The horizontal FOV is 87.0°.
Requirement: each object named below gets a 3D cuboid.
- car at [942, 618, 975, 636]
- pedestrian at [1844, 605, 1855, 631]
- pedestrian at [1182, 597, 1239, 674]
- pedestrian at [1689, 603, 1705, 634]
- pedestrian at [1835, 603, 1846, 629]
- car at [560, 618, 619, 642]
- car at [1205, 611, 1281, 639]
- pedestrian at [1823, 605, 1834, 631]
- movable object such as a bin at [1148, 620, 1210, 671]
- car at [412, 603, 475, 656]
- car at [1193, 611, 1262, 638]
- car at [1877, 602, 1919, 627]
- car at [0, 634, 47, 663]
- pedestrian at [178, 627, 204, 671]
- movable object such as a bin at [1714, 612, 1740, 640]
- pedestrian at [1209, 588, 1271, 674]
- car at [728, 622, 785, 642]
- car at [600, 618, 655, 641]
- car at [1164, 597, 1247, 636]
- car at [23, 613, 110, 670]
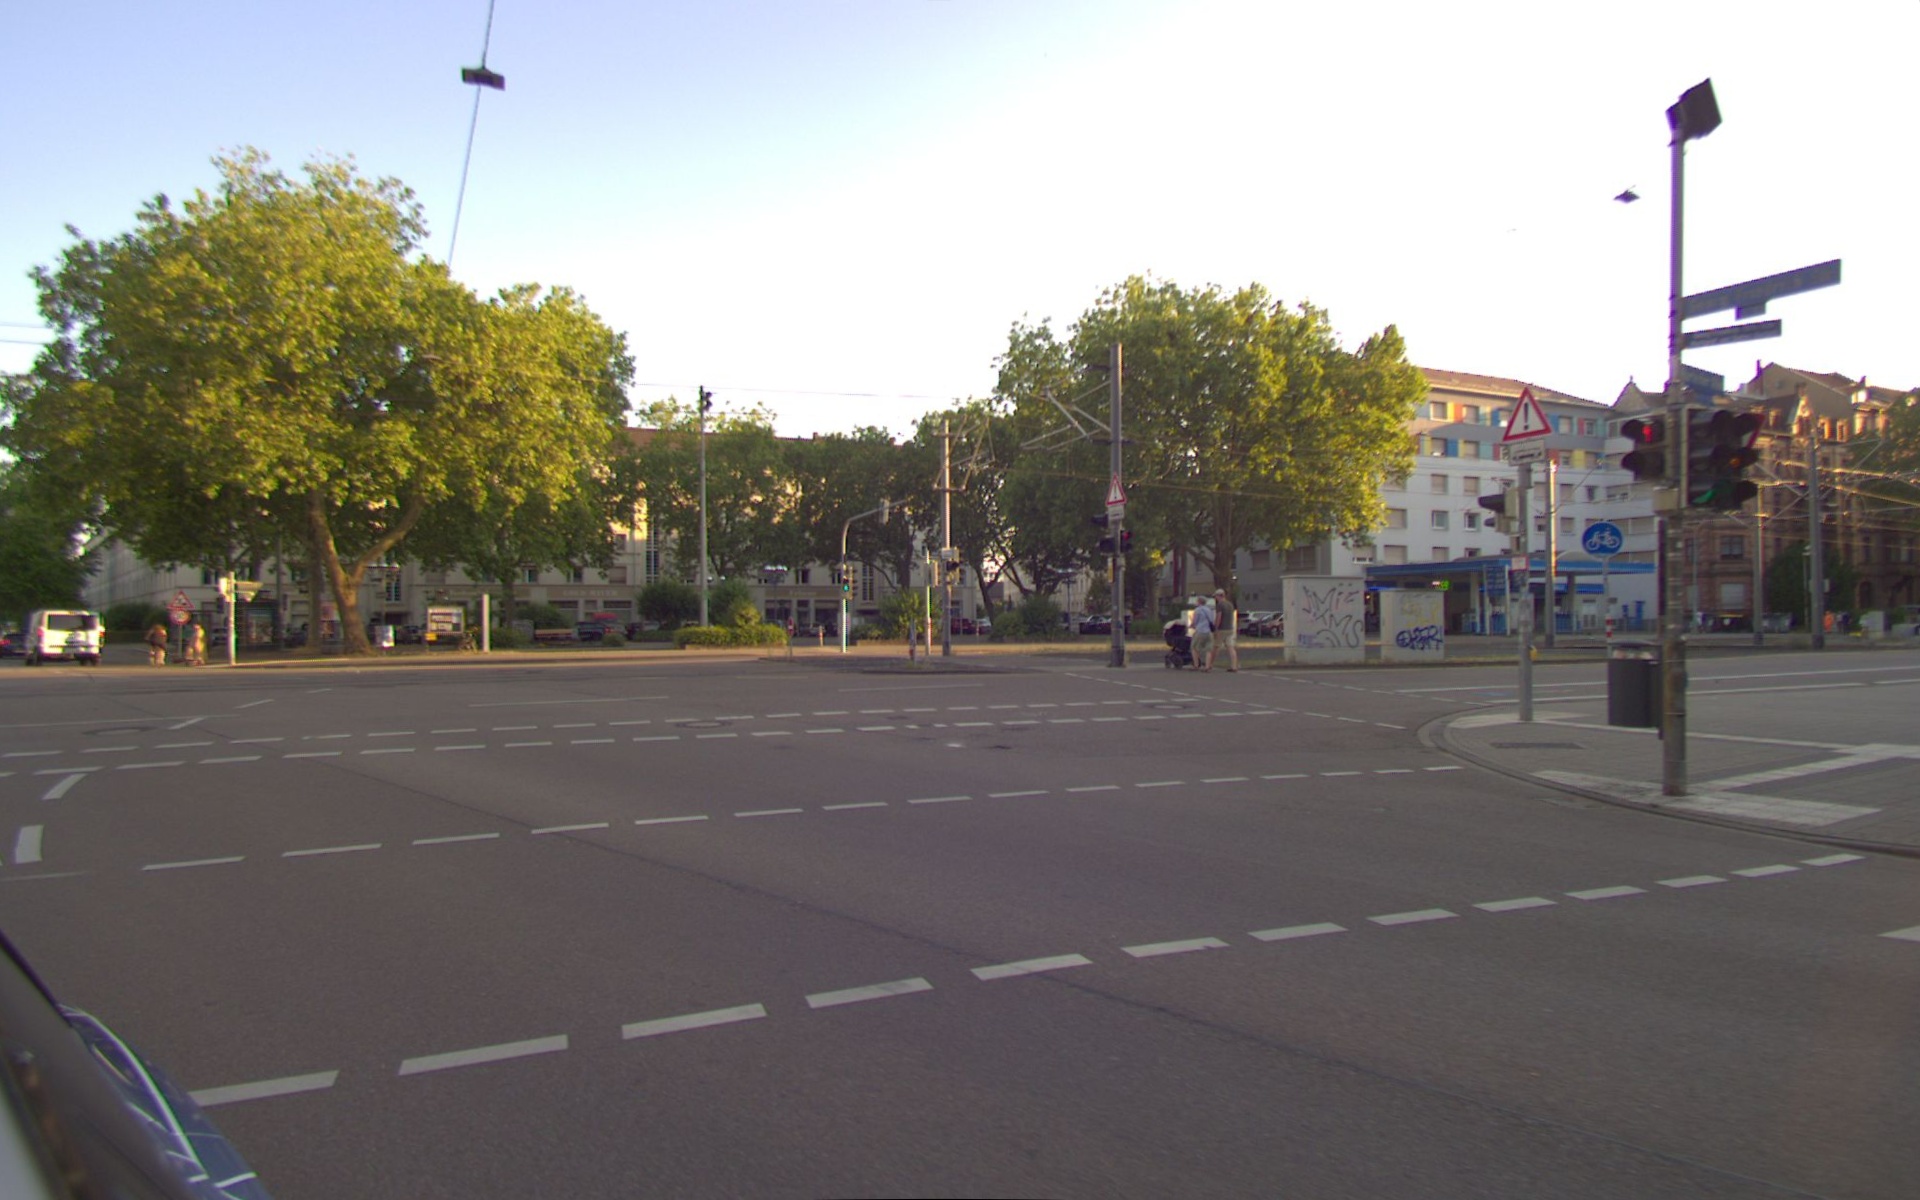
[{"bbox_3d":[-0.158,2.421,91.119,1.733,1.583,3.598,0,-1,-21],"label":"car"},{"bbox_3d":[62.765,1.273,71.393,0.545,1.840,0.453,1,-2,-41],"label":"pedestrian"},{"bbox_3d":[5.480,0.764,22.169,0.708,1.646,1.010,0,-2,-28],"label":"pedestrian"},{"bbox_3d":[49.416,1.228,67.854,0.598,2.029,0.560,0,-1,-23],"label":"pedestrian"},{"bbox_3d":[62.670,1.155,72.027,0.545,1.840,0.453,1,-2,-41],"label":"pedestrian"},{"bbox_3d":[-27.191,2.174,74.402,3.932,1.719,2.006,0,-1,-15],"label":"car"},{"bbox_3d":[17.132,1.509,61.303,3.931,1.625,2.006,0,-1,-21],"label":"car"},{"bbox_3d":[62.034,1.280,72.277,0.545,1.840,0.453,1,-2,-41],"label":"pedestrian"},{"bbox_3d":[5.033,1.032,23.303,0.847,1.128,1.141,0,-2,-28],"label":"movable object such as a bin"},{"bbox_3d":[-21.074,1.182,41.218,1.837,2.029,3.820,0,-1,-34],"label":"car"},{"bbox_3d":[16.950,1.545,64.126,3.931,1.586,1.789,0,-1,-21],"label":"car"},{"bbox_3d":[78.443,1.194,82.882,1.965,2.029,4.508,0,-1,-25],"label":"car"},{"bbox_3d":[-51.041,2.607,55.022,1.970,1.470,4.003,1,-2,-44],"label":"car"},{"bbox_3d":[-29.011,1.838,38.181,0.734,1.641,0.662,0,-1,-31],"label":"pedestrian"},{"bbox_3d":[57.808,1.958,76.309,1.491,2.029,1.342,-2,-2,37],"label":"movable object such as a bin"},{"bbox_3d":[6.224,0.680,22.543,0.699,1.861,1.163,0,-2,-28],"label":"pedestrian"},{"bbox_3d":[-15.725,2.467,78.307,3.931,1.429,1.815,0,-1,-29],"label":"car"},{"bbox_3d":[-25.680,2.242,78.359,3.932,1.719,2.006,0,-1,-15],"label":"car"},{"bbox_3d":[16.953,1.142,69.873,5.482,2.638,2.006,0,-1,-25],"label":"car"},{"bbox_3d":[-33.158,1.515,37.509,4.596,1.971,1.965,-2,-2,43],"label":"car"}]
